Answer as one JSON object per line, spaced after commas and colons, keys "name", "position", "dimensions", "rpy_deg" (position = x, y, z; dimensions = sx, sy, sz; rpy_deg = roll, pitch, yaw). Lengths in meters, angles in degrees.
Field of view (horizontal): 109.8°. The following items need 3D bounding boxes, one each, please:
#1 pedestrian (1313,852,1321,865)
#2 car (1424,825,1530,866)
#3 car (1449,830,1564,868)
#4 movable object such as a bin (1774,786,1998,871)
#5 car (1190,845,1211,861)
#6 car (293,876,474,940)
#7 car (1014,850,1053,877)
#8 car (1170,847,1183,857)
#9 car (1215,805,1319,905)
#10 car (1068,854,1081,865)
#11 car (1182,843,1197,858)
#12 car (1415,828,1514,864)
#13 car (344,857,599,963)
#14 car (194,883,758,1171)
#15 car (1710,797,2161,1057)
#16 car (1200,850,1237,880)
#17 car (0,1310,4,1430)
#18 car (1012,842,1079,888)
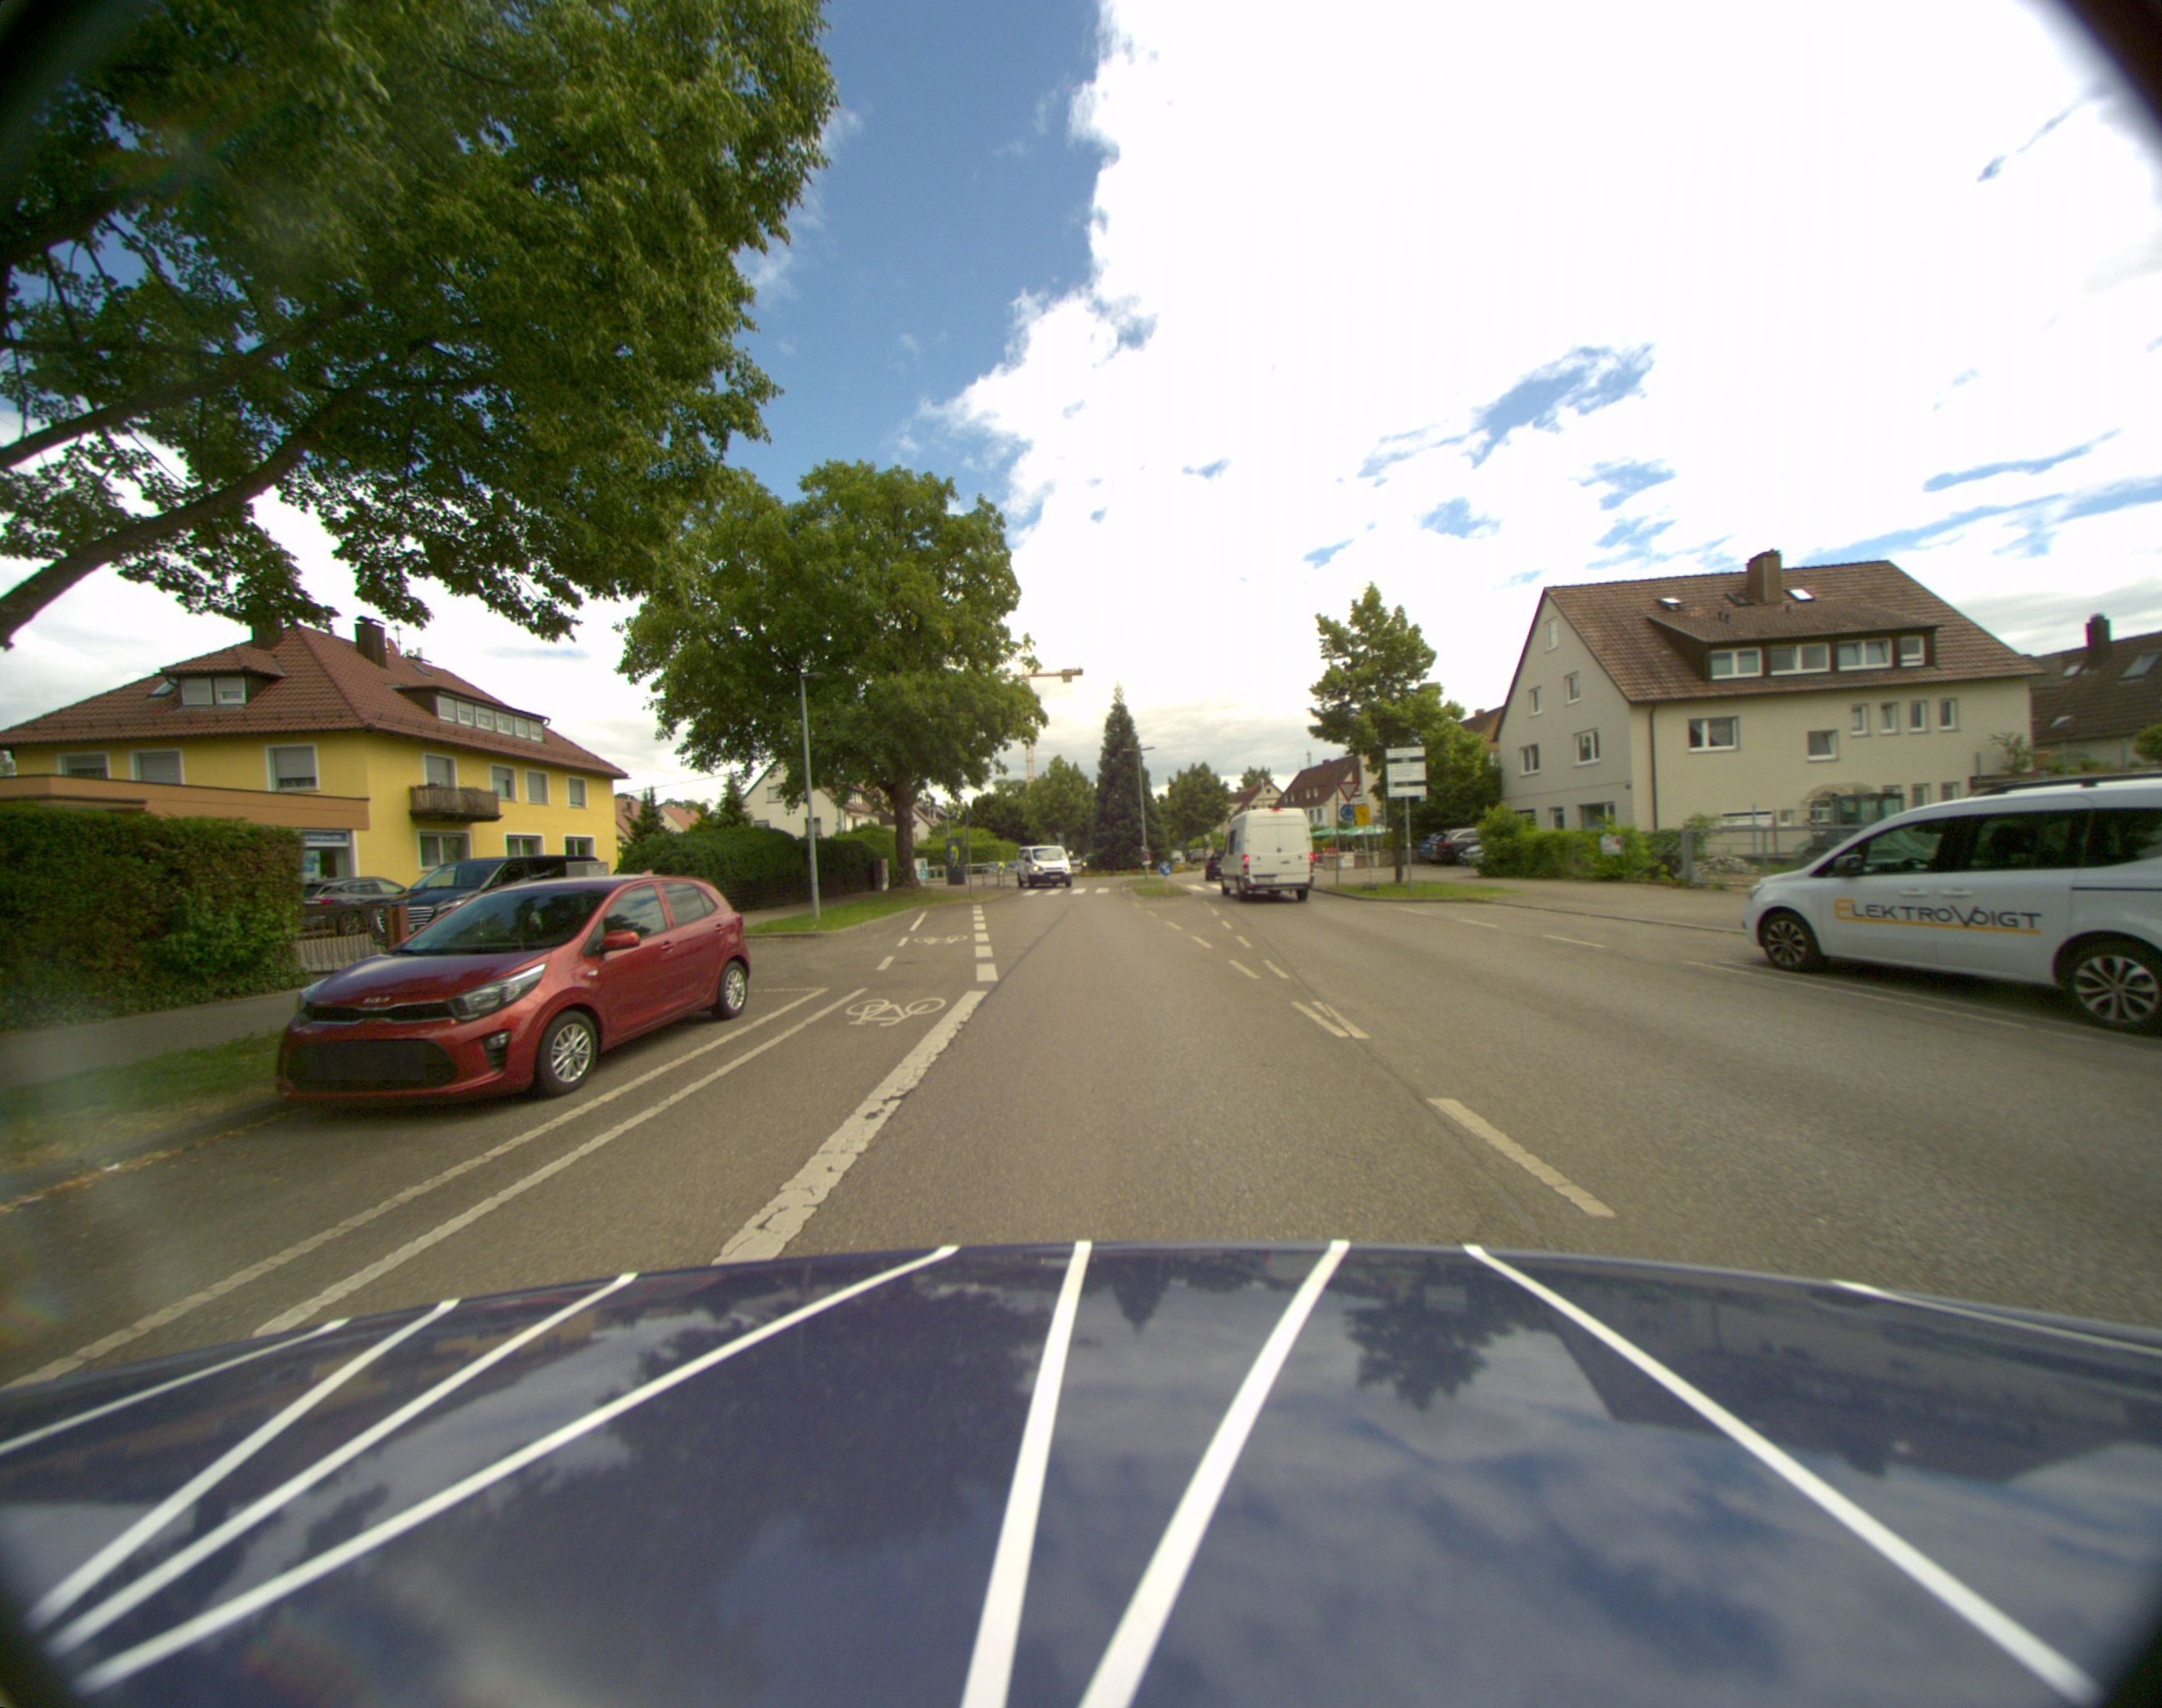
{"name": "pedestrian", "position": [18.176, 0.342, 58.540], "dimensions": [0.341, 0.907, 0.427], "rpy_deg": [-5, 1, -38]}
{"name": "car", "position": [18.384, -0.413, 35.406], "dimensions": [3.926, 1.653, 1.855], "rpy_deg": [-4, 2, 6]}
{"name": "car", "position": [18.371, -0.213, 32.942], "dimensions": [3.927, 1.394, 1.747], "rpy_deg": [-4, 0, 2]}
{"name": "movable object such as a bin", "position": [23.354, -0.672, 22.338], "dimensions": [1.901, 2.175, 4.362], "rpy_deg": [-2, 0, -1]}
{"name": "car", "position": [13.209, -0.080, 84.164], "dimensions": [1.751, 1.626, 4.048], "rpy_deg": [-3, 0, 2]}
{"name": "car", "position": [-21.259, 1.586, 23.425], "dimensions": [1.773, 1.573, 3.972], "rpy_deg": [-4, 0, 1]}
{"name": "car", "position": [-3.324, 0.615, 53.427], "dimensions": [1.925, 1.744, 4.002], "rpy_deg": [-3, 0, 7]}
{"name": "car", "position": [15.310, -0.328, 121.786], "dimensions": [1.665, 1.466, 3.747], "rpy_deg": [-3, 0, 1]}
{"name": "car", "position": [5.592, 0.032, 23.678], "dimensions": [2.023, 2.658, 5.807], "rpy_deg": [-2, 0, 3]}
{"name": "car", "position": [-0.961, 0.767, 109.102], "dimensions": [1.781, 1.446, 4.171], "rpy_deg": [-2, 0, 0]}
{"name": "car", "position": [14.292, -0.478, 99.998], "dimensions": [1.750, 1.819, 4.049], "rpy_deg": [-3, 0, 6]}
{"name": "car", "position": [18.988, -0.404, 37.762], "dimensions": [3.927, 1.527, 1.819], "rpy_deg": [-4, 1, 2]}
{"name": "car", "position": [-13.004, 1.073, 16.685], "dimensions": [1.820, 1.870, 4.468], "rpy_deg": [-4, 0, 1]}
{"name": "car", "position": [-4.279, 1.075, 6.226], "dimensions": [1.569, 1.447, 3.668], "rpy_deg": [-2, 0, 1]}
{"name": "car", "position": [8.253, 0.454, 6.704], "dimensions": [1.774, 1.760, 4.552], "rpy_deg": [-2, 0, 3]}
{"name": "car", "position": [6.916, 0.533, 38.477], "dimensions": [1.576, 1.354, 3.744], "rpy_deg": [-2, 0, 7]}
{"name": "car", "position": [-4.202, 1.094, 0.262], "dimensions": [1.657, 1.407, 4.177], "rpy_deg": [-1, 0, 1]}
{"name": "car", "position": [-1.813, 0.511, 36.792], "dimensions": [2.001, 2.002, 5.043], "rpy_deg": [-3, 0, -16]}
